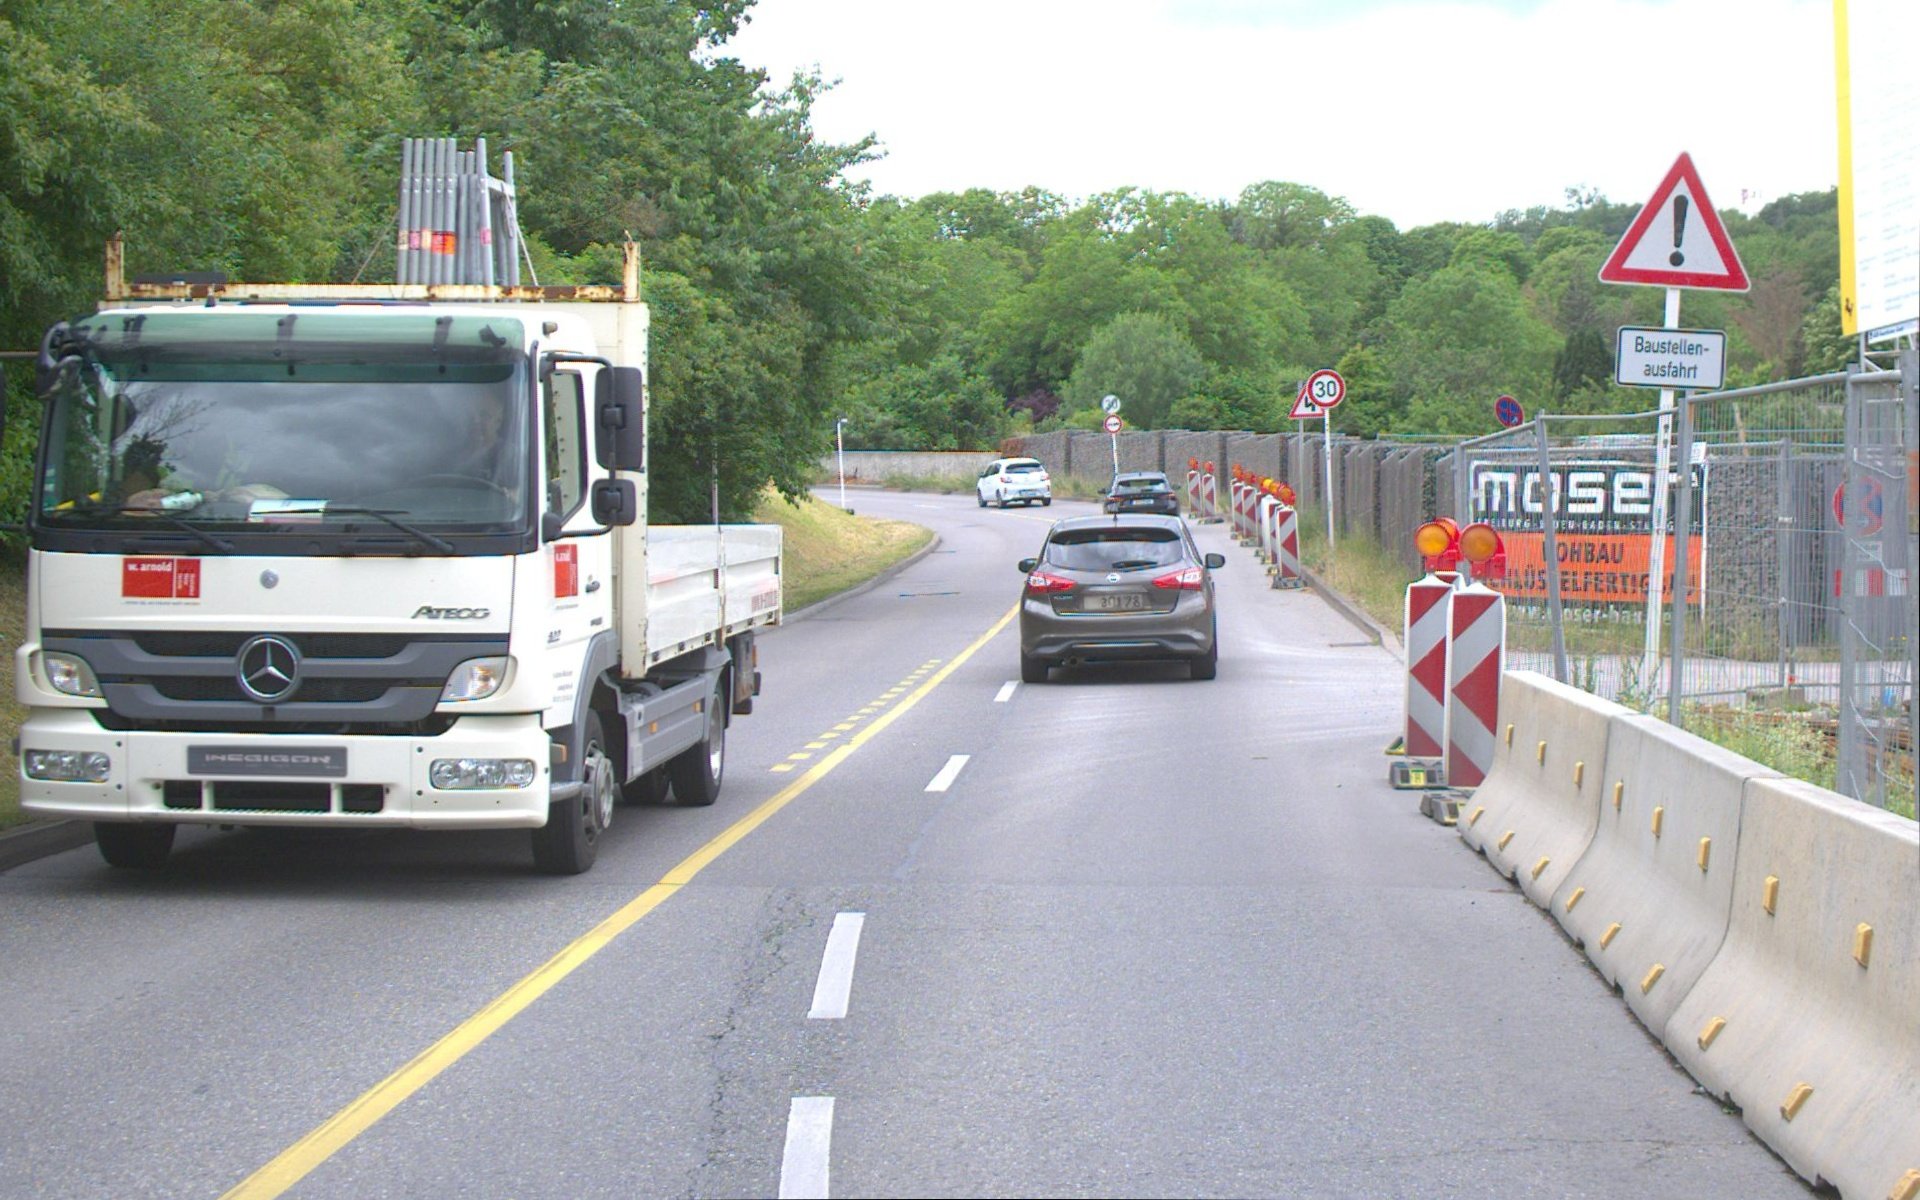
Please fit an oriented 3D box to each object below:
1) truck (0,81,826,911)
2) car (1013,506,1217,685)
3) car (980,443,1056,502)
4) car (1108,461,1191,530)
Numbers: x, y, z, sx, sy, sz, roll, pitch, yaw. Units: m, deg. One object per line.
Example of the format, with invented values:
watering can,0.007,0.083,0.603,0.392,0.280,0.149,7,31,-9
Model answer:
truck,-2.573,-0.585,18.067,2.820,3.324,8.380,1,2,4
car,1.515,-0.092,32.524,1.798,1.546,4.000,-1,2,4
car,1.784,-3.931,106.308,1.711,1.669,4.001,-2,0,-8
car,4.480,-2.427,80.705,1.820,1.546,3.788,1,1,5
